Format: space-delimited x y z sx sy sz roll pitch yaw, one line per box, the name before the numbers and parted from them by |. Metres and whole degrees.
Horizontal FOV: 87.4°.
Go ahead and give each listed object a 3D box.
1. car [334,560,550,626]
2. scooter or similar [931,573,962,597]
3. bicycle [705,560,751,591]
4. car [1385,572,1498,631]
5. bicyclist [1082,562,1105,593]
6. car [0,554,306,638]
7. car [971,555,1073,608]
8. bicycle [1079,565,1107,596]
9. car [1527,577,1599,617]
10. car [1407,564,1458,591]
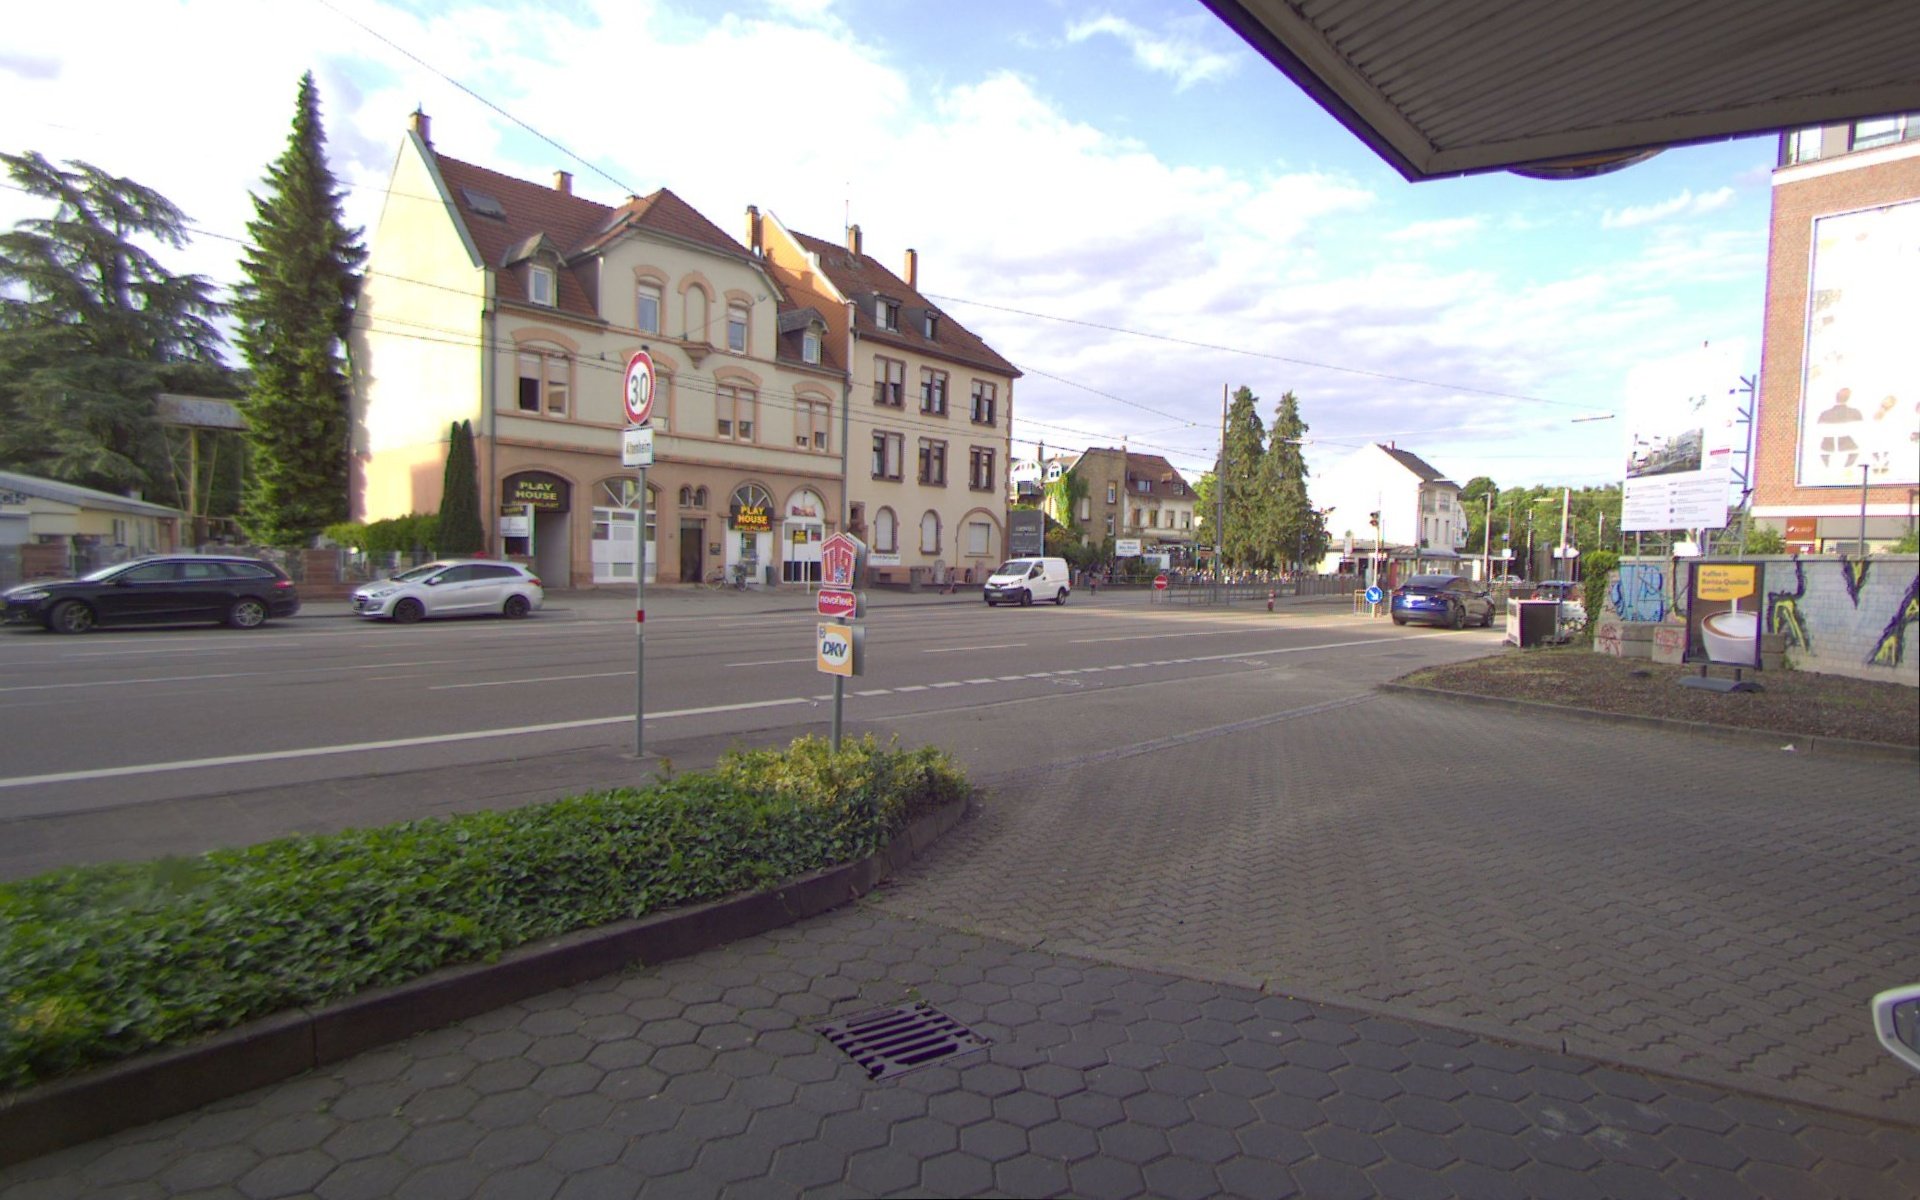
car | -13.009 -0.246 25.469 1.970 1.495 4.467 3 3 40
scooter or similar | -0.606 -0.691 45.141 0.488 1.015 1.592 5 5 39
bicycle | -9.152 -0.957 39.714 0.508 1.189 1.809 4 2 40
car | 15.565 0.034 32.345 1.746 1.679 4.821 5 4 44
bicyclist | 6.910 -1.160 51.937 0.774 1.512 1.095 5 4 25
car | -16.577 -0.148 20.736 1.970 1.516 4.801 3 3 40
car | 2.486 -0.716 39.555 1.936 1.915 4.396 3 2 35
bicycle | 6.904 -1.012 51.954 0.774 1.512 1.989 5 4 25
car | 25.974 -0.131 43.235 1.745 1.564 4.106 5 4 43
car | 36.406 -1.711 77.316 4.855 1.995 1.974 -1 3 -44
